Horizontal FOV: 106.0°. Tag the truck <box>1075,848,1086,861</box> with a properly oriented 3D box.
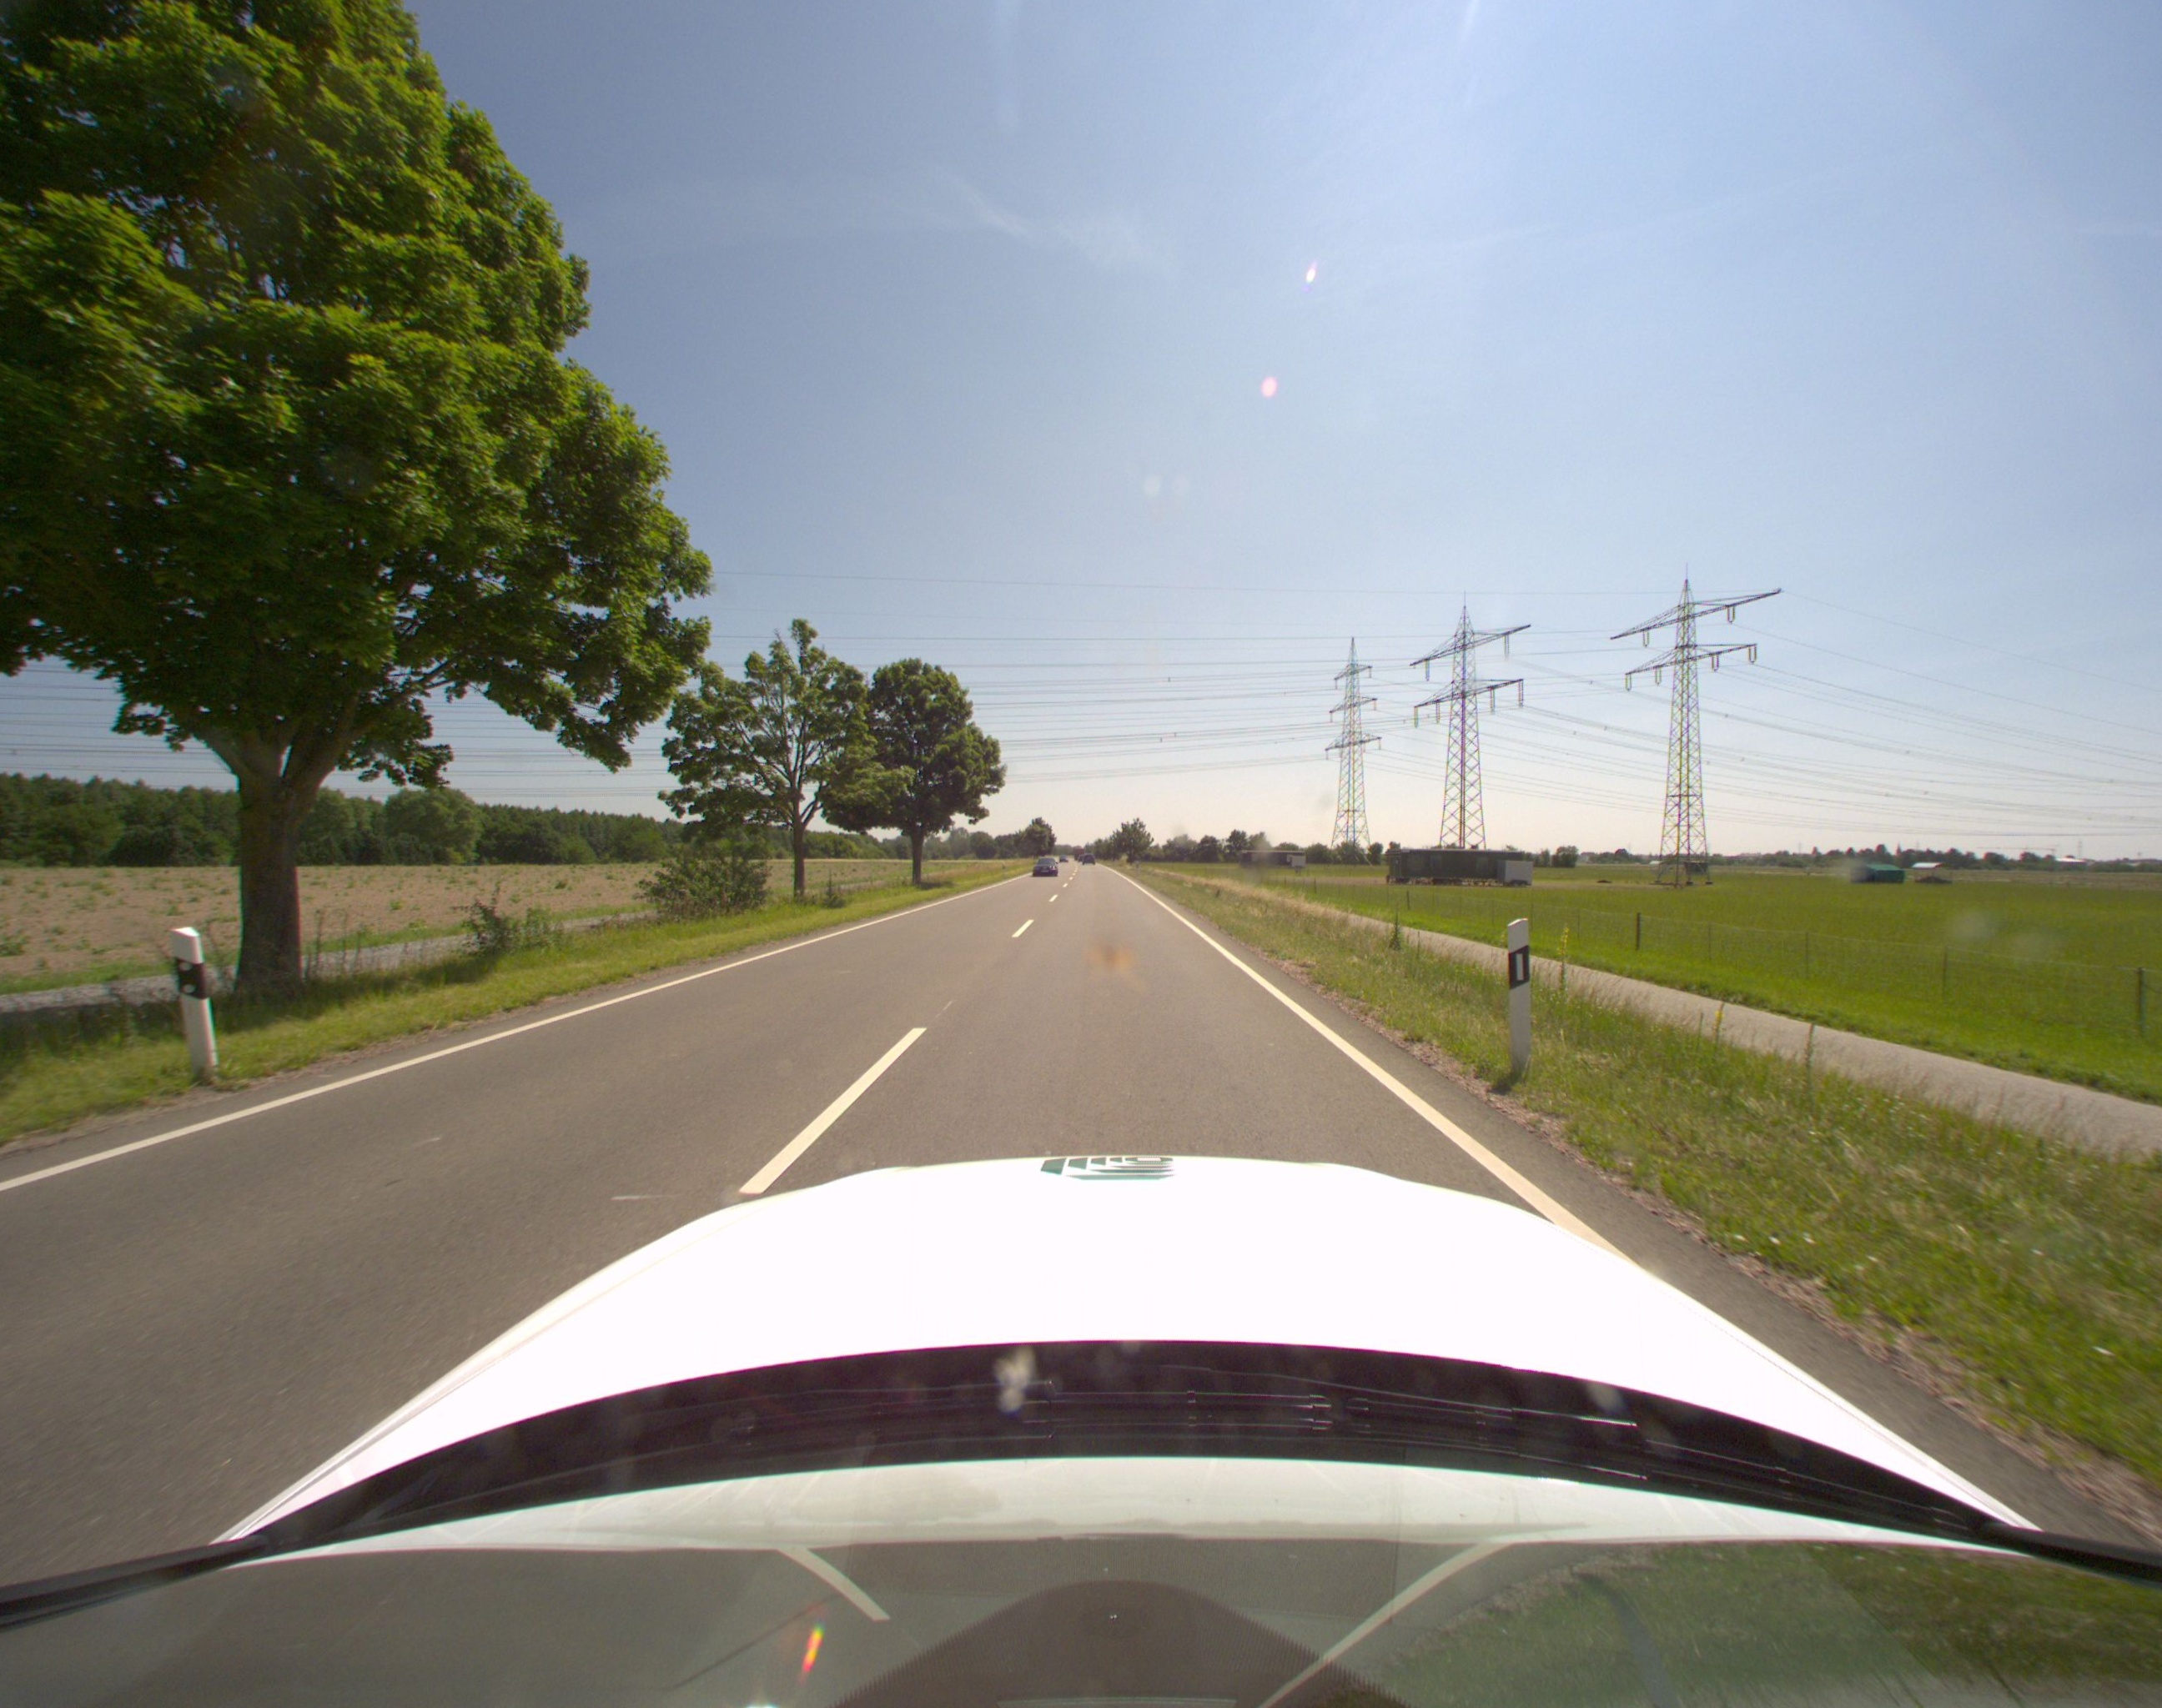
[{"bbox_3d":[-0.233,0.098,203.780,2.365,3.140,8.740,0,0,-2],"label":"truck"}]

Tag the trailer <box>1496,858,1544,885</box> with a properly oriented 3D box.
[{"bbox_3d":[41.054,1.605,76.277,3.397,2.462,2.037,1,0,-1],"label":"trailer"}]

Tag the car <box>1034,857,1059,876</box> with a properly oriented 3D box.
[{"bbox_3d":[-2.471,0.887,59.026,1.700,1.332,3.999,0,0,0],"label":"car"}]

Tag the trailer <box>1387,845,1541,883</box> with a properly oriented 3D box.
[{"bbox_3d":[37.000,0.928,78.994,13.470,3.475,3.275,1,0,-1],"label":"trailer"}]

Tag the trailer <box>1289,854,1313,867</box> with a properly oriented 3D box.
[{"bbox_3d":[41.442,1.225,153.410,3.980,2.443,1.997,1,0,-5],"label":"trailer"}]

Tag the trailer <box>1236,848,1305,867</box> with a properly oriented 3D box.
[{"bbox_3d":[36.356,0.675,156.248,12.380,3.473,3.802,1,0,-3],"label":"trailer"}]

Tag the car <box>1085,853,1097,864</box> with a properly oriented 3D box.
[{"bbox_3d":[1.486,0.729,124.017,1.709,1.694,3.988,0,0,0],"label":"car"}]

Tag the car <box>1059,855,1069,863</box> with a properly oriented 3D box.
[{"bbox_3d":[-3.249,0.922,157.748,1.728,1.447,4.000,-1,-1,1],"label":"car"}]

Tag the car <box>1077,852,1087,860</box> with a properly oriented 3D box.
[{"bbox_3d":[0.191,0.327,160.417,1.845,1.523,3.998,0,0,-1],"label":"car"}]
